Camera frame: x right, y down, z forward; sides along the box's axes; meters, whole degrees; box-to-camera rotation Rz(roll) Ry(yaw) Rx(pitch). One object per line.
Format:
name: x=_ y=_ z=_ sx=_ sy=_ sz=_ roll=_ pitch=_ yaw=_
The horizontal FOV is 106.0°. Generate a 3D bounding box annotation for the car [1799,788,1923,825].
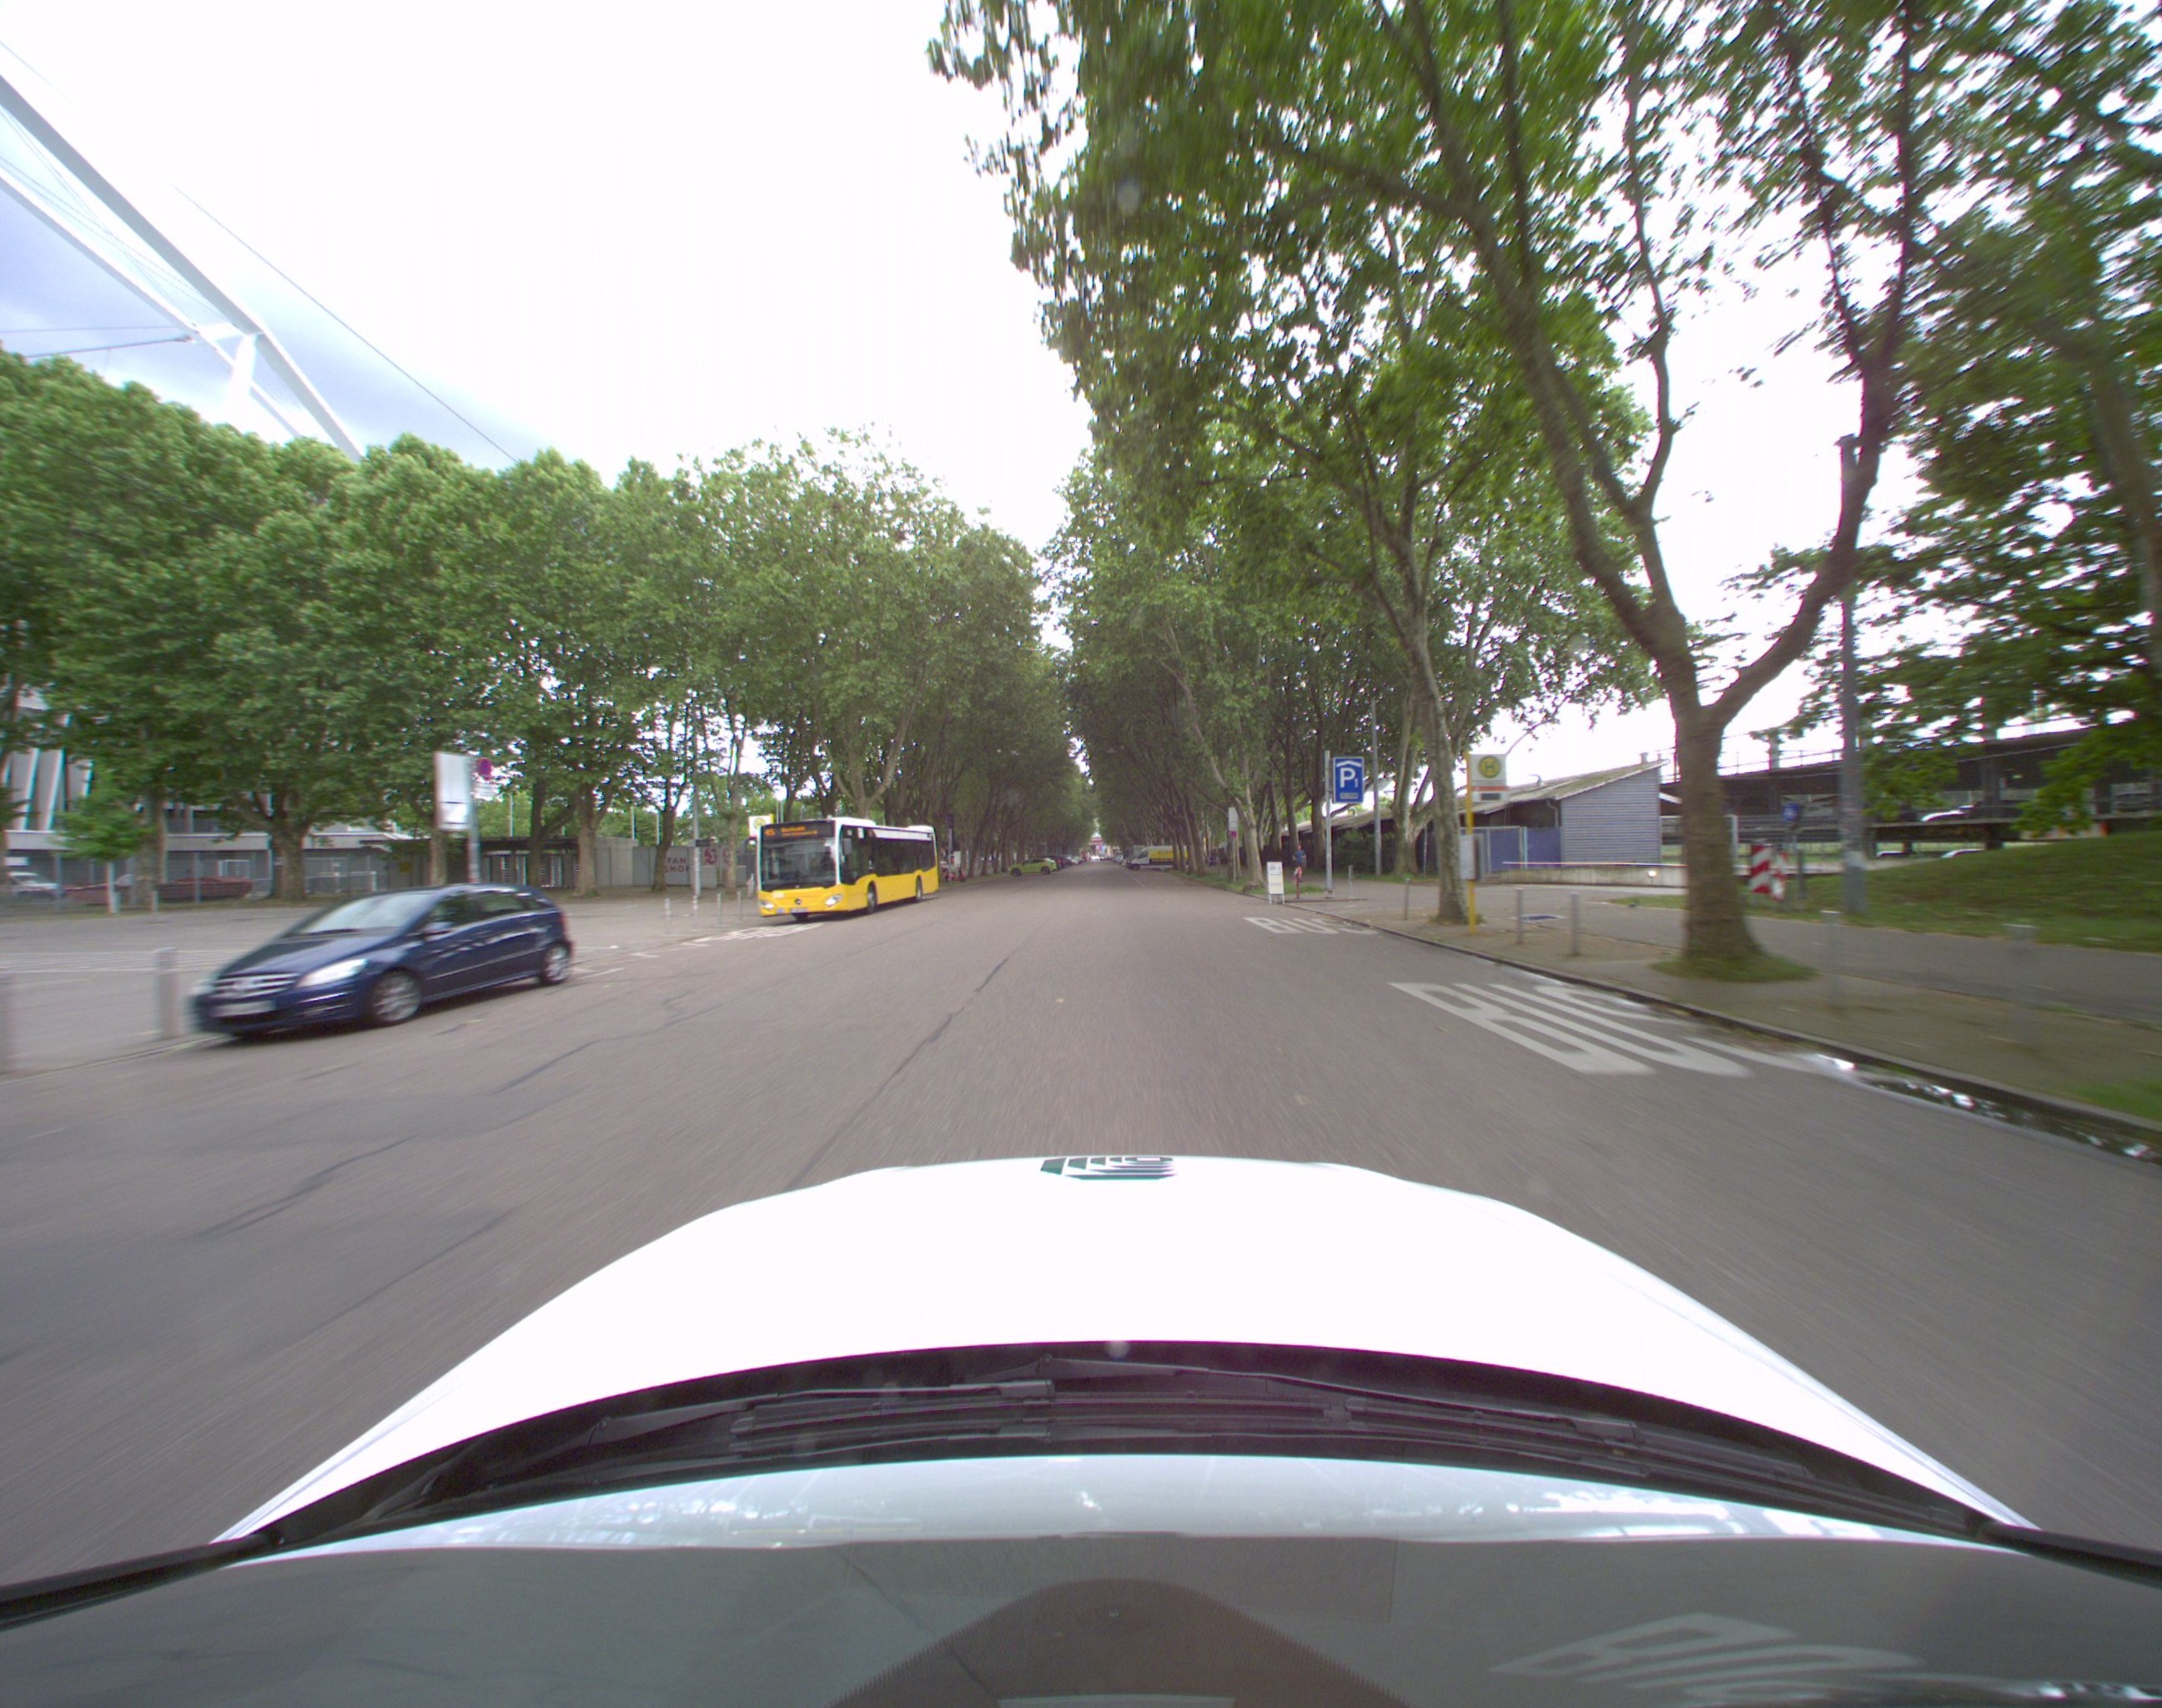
car: x=38.264 y=-2.332 z=40.029 sx=4.247 sy=1.673 sz=1.983 roll=0 pitch=-1 yaw=-1

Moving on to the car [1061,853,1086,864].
car: x=-1.566 y=0.912 z=163.386 sx=4.877 sy=2.019 sz=1.919 roll=-3 pitch=-1 yaw=0

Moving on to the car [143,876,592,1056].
car: x=-8.582 y=1.197 z=10.483 sx=1.748 sy=1.566 sz=4.387 roll=-6 pitch=0 yaw=0

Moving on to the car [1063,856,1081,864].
car: x=-2.016 y=1.309 z=179.981 sx=3.817 sy=1.627 sz=1.951 roll=-3 pitch=-1 yaw=-2

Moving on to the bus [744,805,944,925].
bus: x=-7.692 y=0.350 z=28.997 sx=2.640 sy=3.154 sz=12.378 roll=-4 pitch=-1 yaw=3

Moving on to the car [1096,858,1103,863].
car: x=5.545 y=1.882 z=243.951 sx=1.650 sy=1.364 sz=4.109 roll=-4 pitch=0 yaw=-2

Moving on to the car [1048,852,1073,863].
car: x=-3.715 y=0.675 z=148.208 sx=4.327 sy=1.667 sz=1.999 roll=-4 pitch=-1 yaw=-1

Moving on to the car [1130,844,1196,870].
car: x=8.667 y=0.285 z=86.587 sx=6.853 sy=2.695 sz=2.129 roll=0 pitch=-1 yaw=2

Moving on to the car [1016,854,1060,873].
car: x=-4.823 y=1.052 z=91.768 sx=4.752 sy=1.924 sz=2.015 roll=-3 pitch=0 yaw=-4

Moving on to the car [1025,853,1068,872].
car: x=-4.067 y=1.022 z=96.728 sx=4.886 sy=1.924 sz=2.209 roll=-3 pitch=0 yaw=2

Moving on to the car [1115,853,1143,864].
car: x=7.381 y=0.701 z=125.538 sx=4.320 sy=1.618 sz=1.805 roll=1 pitch=-1 yaw=4

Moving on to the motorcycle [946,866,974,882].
motorcycle: x=-8.759 y=1.452 z=59.079 sx=0.568 sy=1.158 sz=2.089 roll=-1 pitch=-1 yaw=44

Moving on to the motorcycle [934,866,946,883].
motorcycle: x=-10.204 y=1.450 z=58.780 sx=0.575 sy=1.158 sz=2.064 roll=0 pitch=-1 yaw=-18

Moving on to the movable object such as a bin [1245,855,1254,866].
movable object such as a bin: x=15.383 y=0.615 z=74.483 sx=0.566 sy=0.959 sz=0.675 roll=-6 pitch=-1 yaw=0

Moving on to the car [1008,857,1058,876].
car: x=-4.550 y=1.178 z=76.985 sx=4.496 sy=1.618 sz=1.759 roll=-2 pitch=-1 yaw=3

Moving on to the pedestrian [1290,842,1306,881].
pedestrian: x=11.195 y=0.387 z=41.962 sx=0.705 sy=2.014 sz=0.884 roll=-1 pitch=-1 yaw=10

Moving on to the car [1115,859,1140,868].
car: x=8.032 y=1.597 z=140.513 sx=4.102 sy=1.429 sz=1.704 roll=1 pitch=-1 yaw=3

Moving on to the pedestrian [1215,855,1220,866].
pedestrian: x=13.959 y=0.691 z=83.425 sx=0.393 sy=1.084 sz=0.419 roll=-4 pitch=-1 yaw=5

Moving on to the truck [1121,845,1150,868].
truck: x=7.127 y=0.366 z=107.963 sx=2.456 sy=2.938 sz=7.520 roll=0 pitch=-1 yaw=-7

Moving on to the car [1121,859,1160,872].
car: x=6.788 y=1.256 z=93.077 sx=4.338 sy=1.445 sz=1.614 roll=0 pitch=-1 yaw=5

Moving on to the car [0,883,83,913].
car: x=-63.082 y=2.634 z=48.670 sx=3.986 sy=1.662 sz=1.994 roll=-1 pitch=0 yaw=-10

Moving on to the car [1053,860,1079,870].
car: x=-2.528 y=1.911 z=140.347 sx=4.366 sy=1.597 sz=1.999 roll=-3 pitch=-1 yaw=-1
